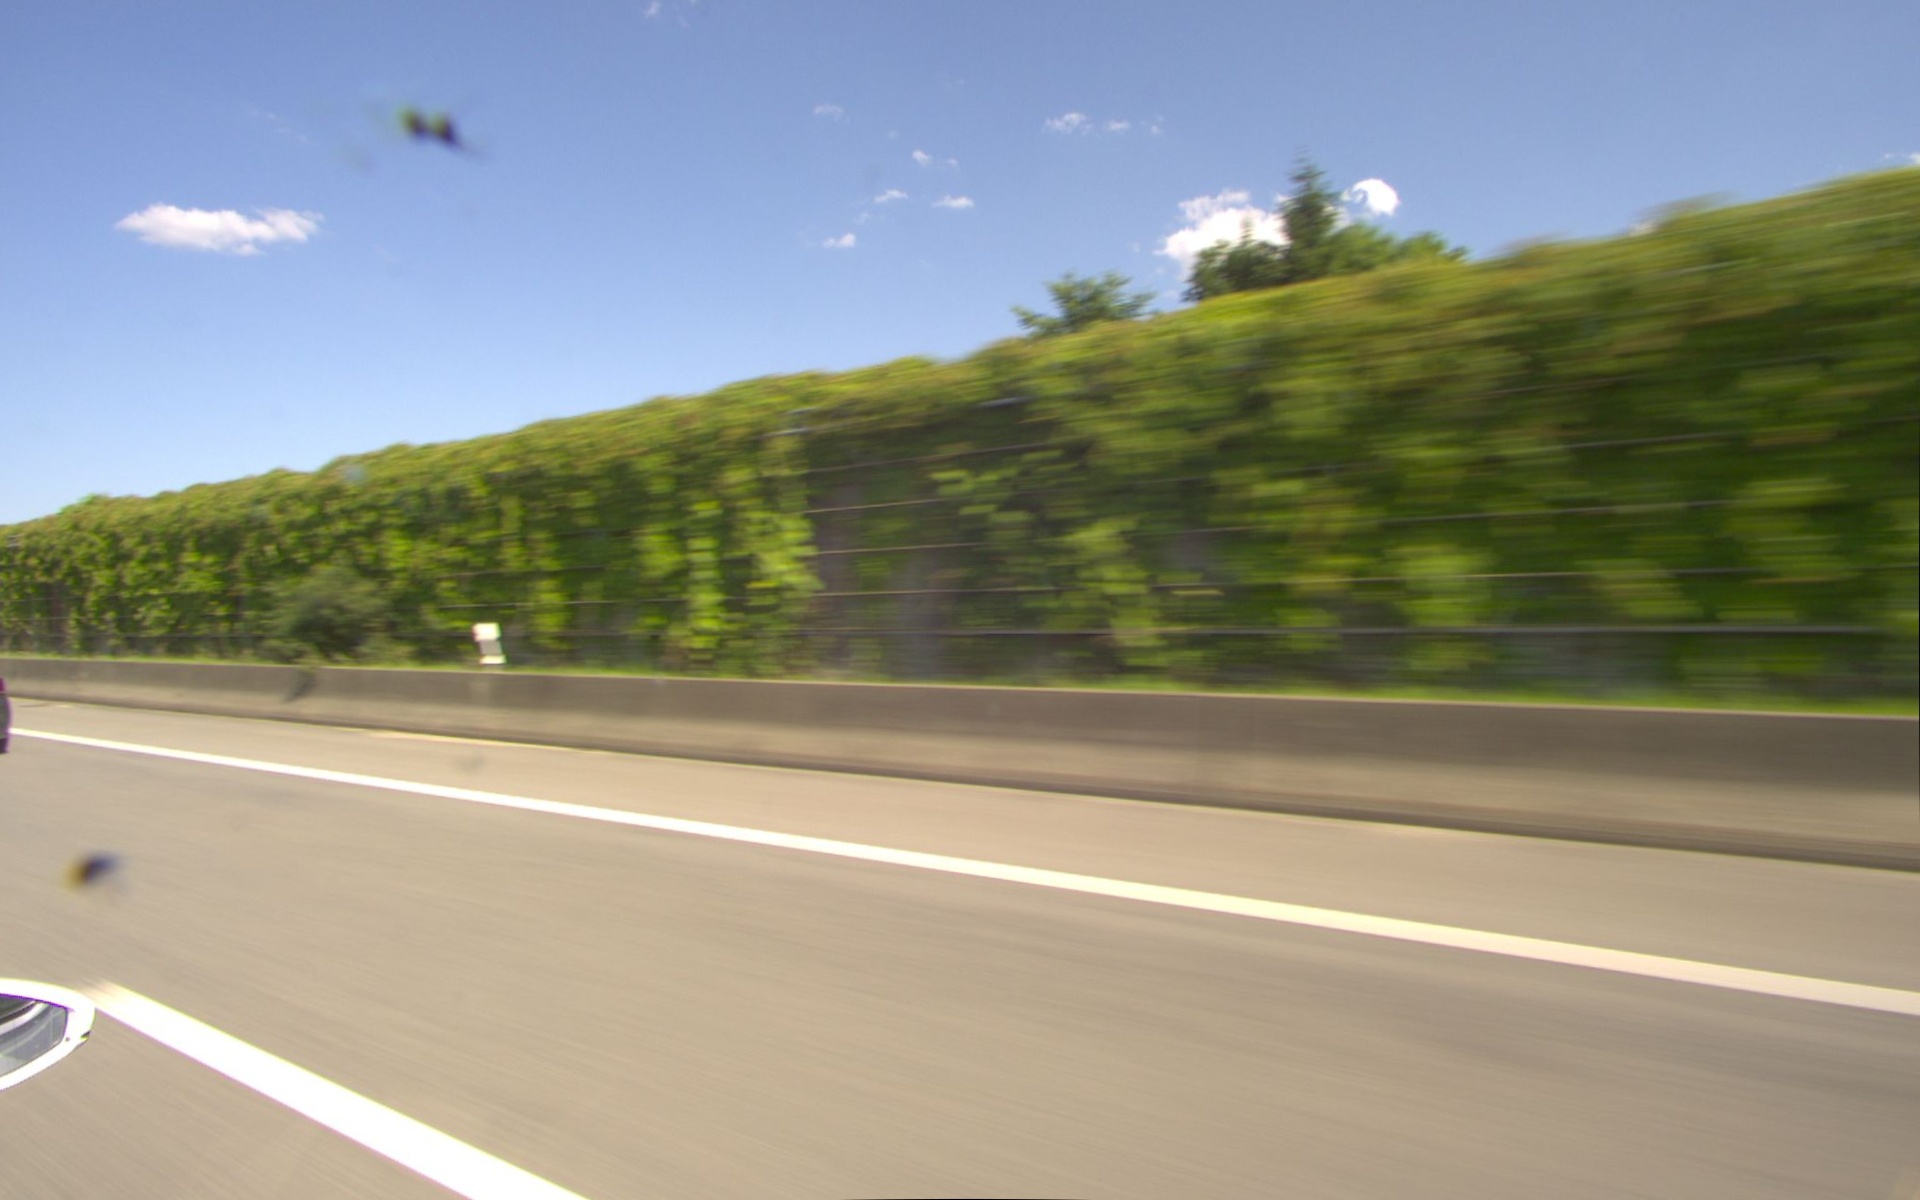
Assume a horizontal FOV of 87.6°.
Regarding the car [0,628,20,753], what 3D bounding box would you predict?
[{"bbox_3d":[-13.577,1.098,12.488,4.480,1.473,1.662,-1,-1,33],"label":"car"}]
